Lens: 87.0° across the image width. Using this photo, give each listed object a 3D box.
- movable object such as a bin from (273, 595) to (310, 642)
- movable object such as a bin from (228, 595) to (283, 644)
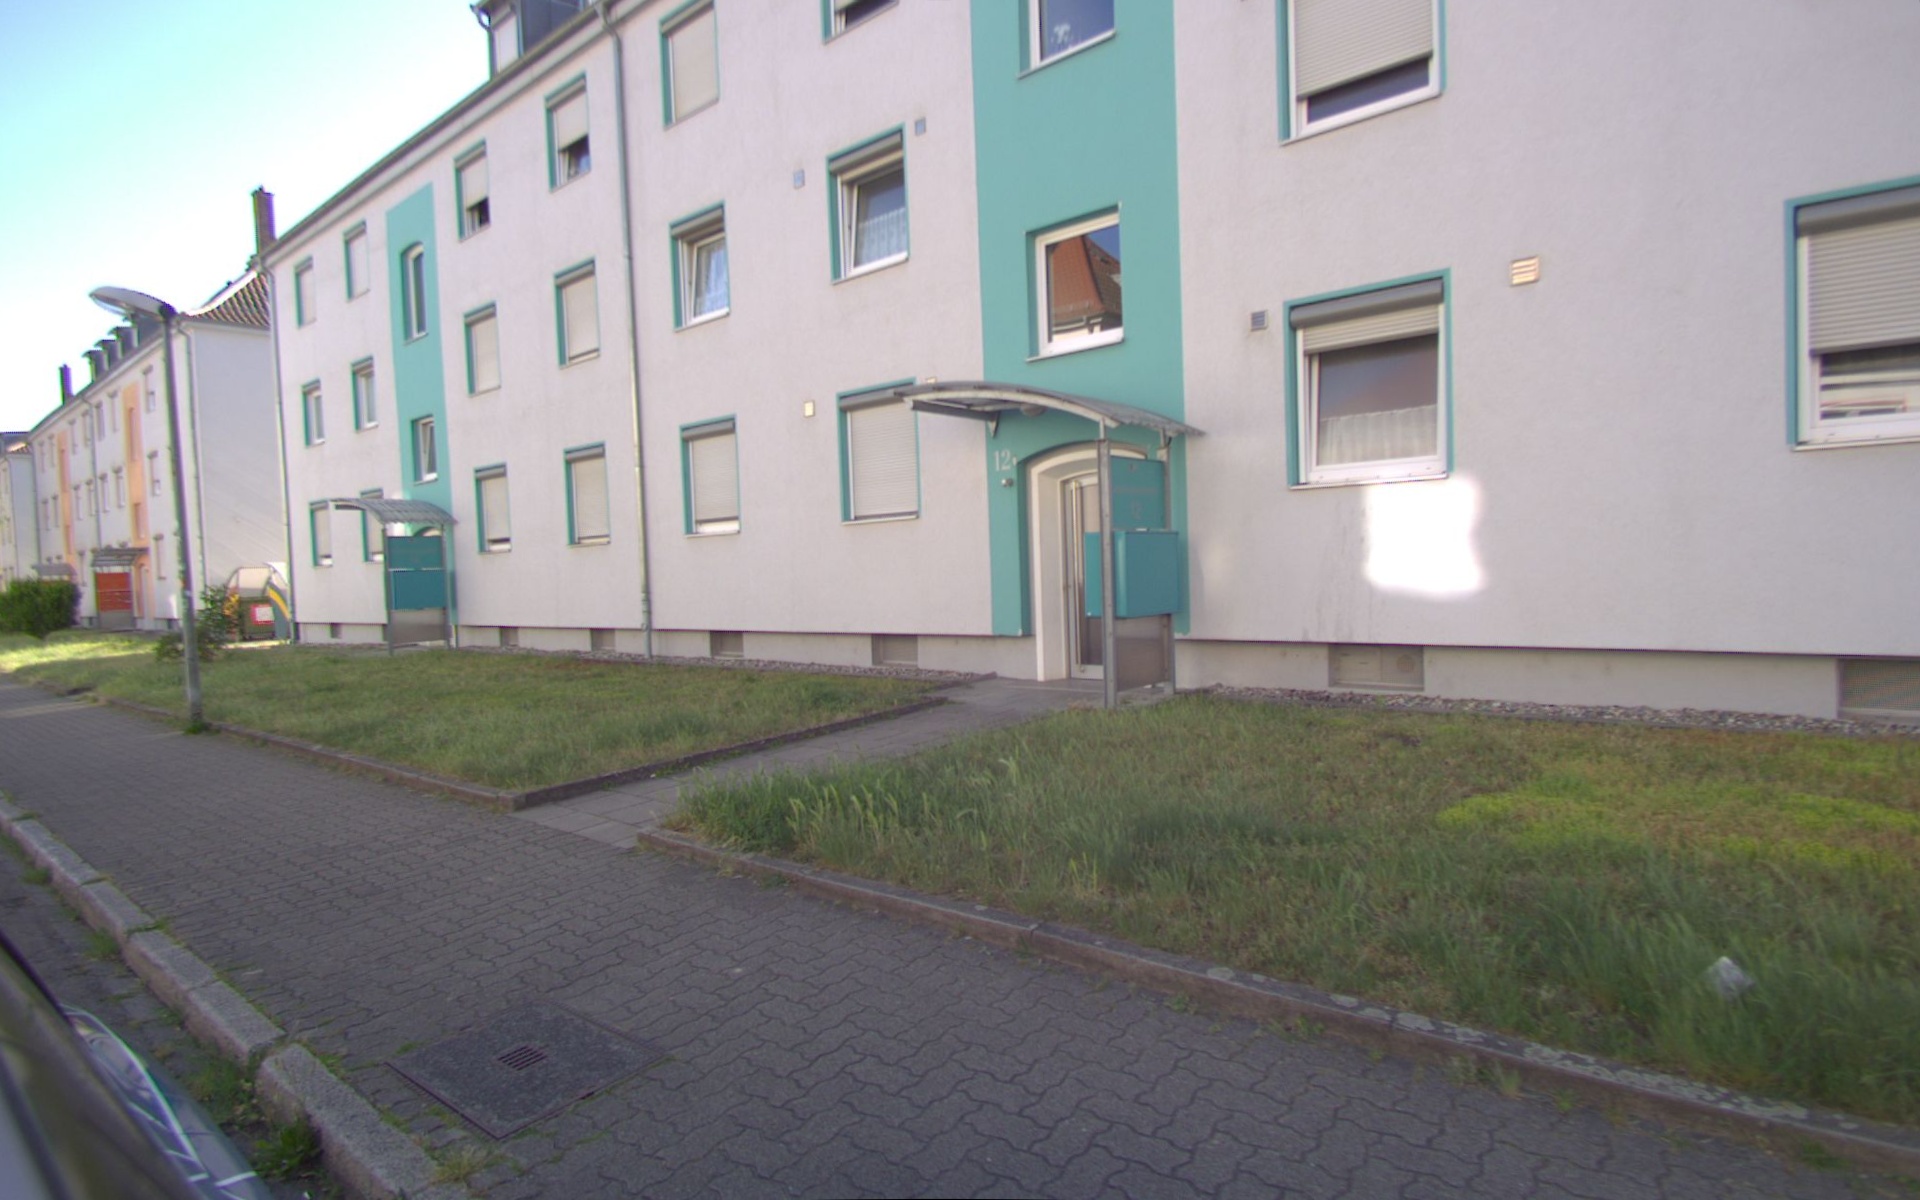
[{"bbox_3d":[-20.696,0.564,31.335,0.762,1.403,0.744,-1,1,40],"label":"movable object such as a bin"},{"bbox_3d":[-21.283,0.590,30.579,0.877,1.403,1.152,-1,2,40],"label":"movable object such as a bin"}]
